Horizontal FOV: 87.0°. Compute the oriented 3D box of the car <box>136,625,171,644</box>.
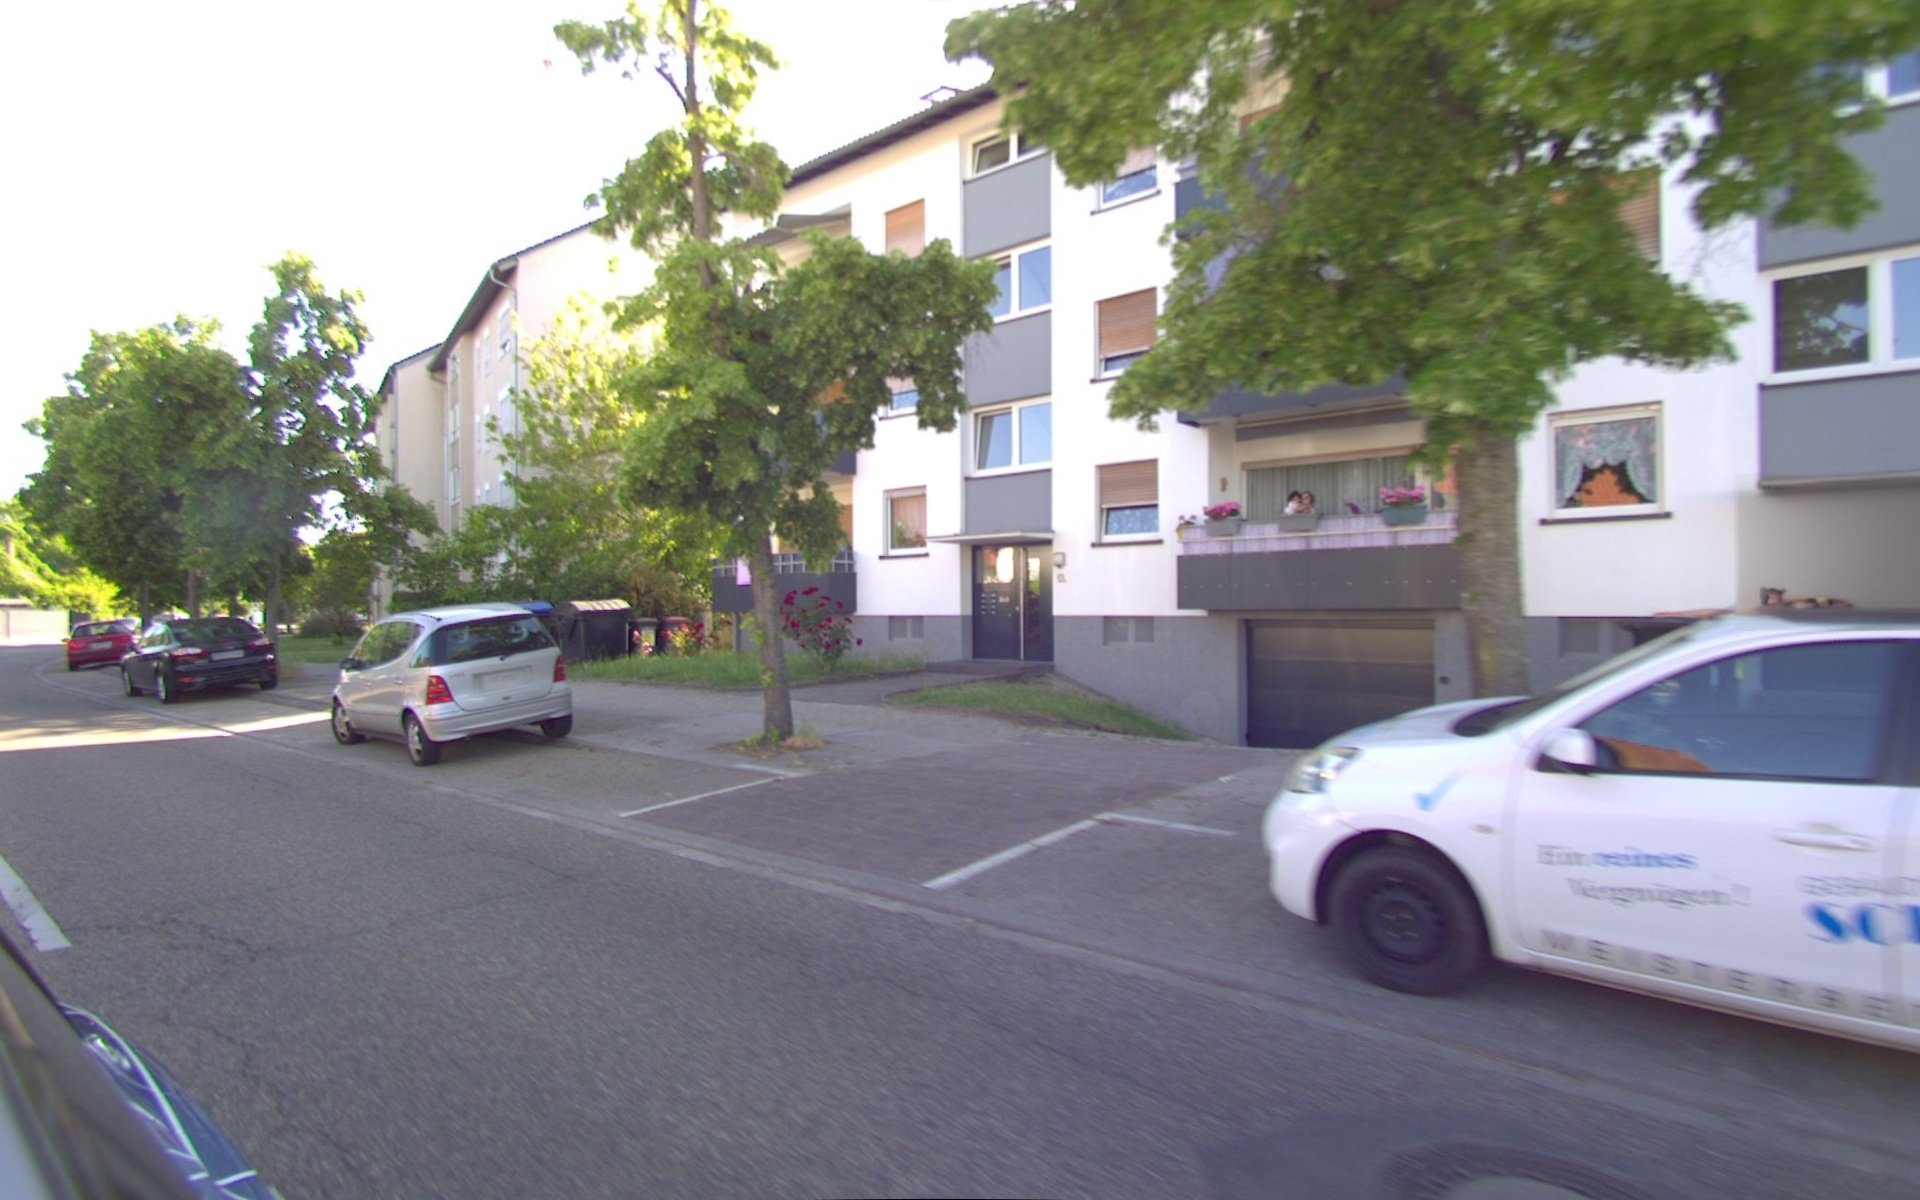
[{"bbox_3d":[-68.198,2.918,85.653,1.613,1.590,3.715,0,-2,-27],"label":"car"}]

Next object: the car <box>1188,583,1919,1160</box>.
[{"bbox_3d":[3.013,0.769,3.718,3.907,1.577,1.674,-1,2,44],"label":"car"}]

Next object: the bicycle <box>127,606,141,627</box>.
[{"bbox_3d":[-41.306,0.848,50.604,0.352,1.015,1.203,-1,-2,-31],"label":"bicycle"}]

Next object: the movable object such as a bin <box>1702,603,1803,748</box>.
[{"bbox_3d":[7.430,0.679,9.488,0.672,1.289,0.631,-2,-2,44],"label":"movable object such as a bin"}]

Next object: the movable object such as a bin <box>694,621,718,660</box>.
[{"bbox_3d":[-6.144,0.977,24.509,0.372,0.927,0.410,-1,-1,41],"label":"movable object such as a bin"}]

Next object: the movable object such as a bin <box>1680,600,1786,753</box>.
[{"bbox_3d":[6.894,0.655,9.027,0.672,1.289,0.631,-2,-2,44],"label":"movable object such as a bin"}]

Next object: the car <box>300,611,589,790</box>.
[{"bbox_3d":[-6.152,1.015,11.883,3.909,1.604,1.704,-1,4,43],"label":"car"}]

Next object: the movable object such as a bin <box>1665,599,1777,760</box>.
[{"bbox_3d":[6.420,0.642,8.539,0.672,1.289,0.631,-2,-2,44],"label":"movable object such as a bin"}]

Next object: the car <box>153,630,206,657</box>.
[{"bbox_3d":[-47.135,2.629,61.159,1.624,1.551,3.716,0,-2,-23],"label":"car"}]

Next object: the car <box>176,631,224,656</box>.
[{"bbox_3d":[-48.829,2.779,65.087,1.624,1.551,3.716,0,-2,-23],"label":"car"}]

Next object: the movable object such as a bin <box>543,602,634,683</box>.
[{"bbox_3d":[-7.470,0.835,20.346,1.327,1.555,1.276,-2,-1,43],"label":"movable object such as a bin"}]

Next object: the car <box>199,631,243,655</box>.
[{"bbox_3d":[-50.547,2.908,69.325,1.624,1.551,3.716,0,-2,-23],"label":"car"}]

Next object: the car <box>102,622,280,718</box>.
[{"bbox_3d":[-15.131,1.284,19.828,4.539,1.504,1.705,-1,4,40],"label":"car"}]

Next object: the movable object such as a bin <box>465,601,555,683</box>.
[{"bbox_3d":[-9.649,0.881,21.713,1.267,1.675,1.397,-2,-1,43],"label":"movable object such as a bin"}]

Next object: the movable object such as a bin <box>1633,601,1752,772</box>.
[{"bbox_3d":[5.870,0.659,8.111,0.672,1.289,0.679,-2,-2,43],"label":"movable object such as a bin"}]

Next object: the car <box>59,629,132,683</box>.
[{"bbox_3d":[-27.817,1.753,32.612,1.637,1.505,3.915,-4,1,-40],"label":"car"}]
